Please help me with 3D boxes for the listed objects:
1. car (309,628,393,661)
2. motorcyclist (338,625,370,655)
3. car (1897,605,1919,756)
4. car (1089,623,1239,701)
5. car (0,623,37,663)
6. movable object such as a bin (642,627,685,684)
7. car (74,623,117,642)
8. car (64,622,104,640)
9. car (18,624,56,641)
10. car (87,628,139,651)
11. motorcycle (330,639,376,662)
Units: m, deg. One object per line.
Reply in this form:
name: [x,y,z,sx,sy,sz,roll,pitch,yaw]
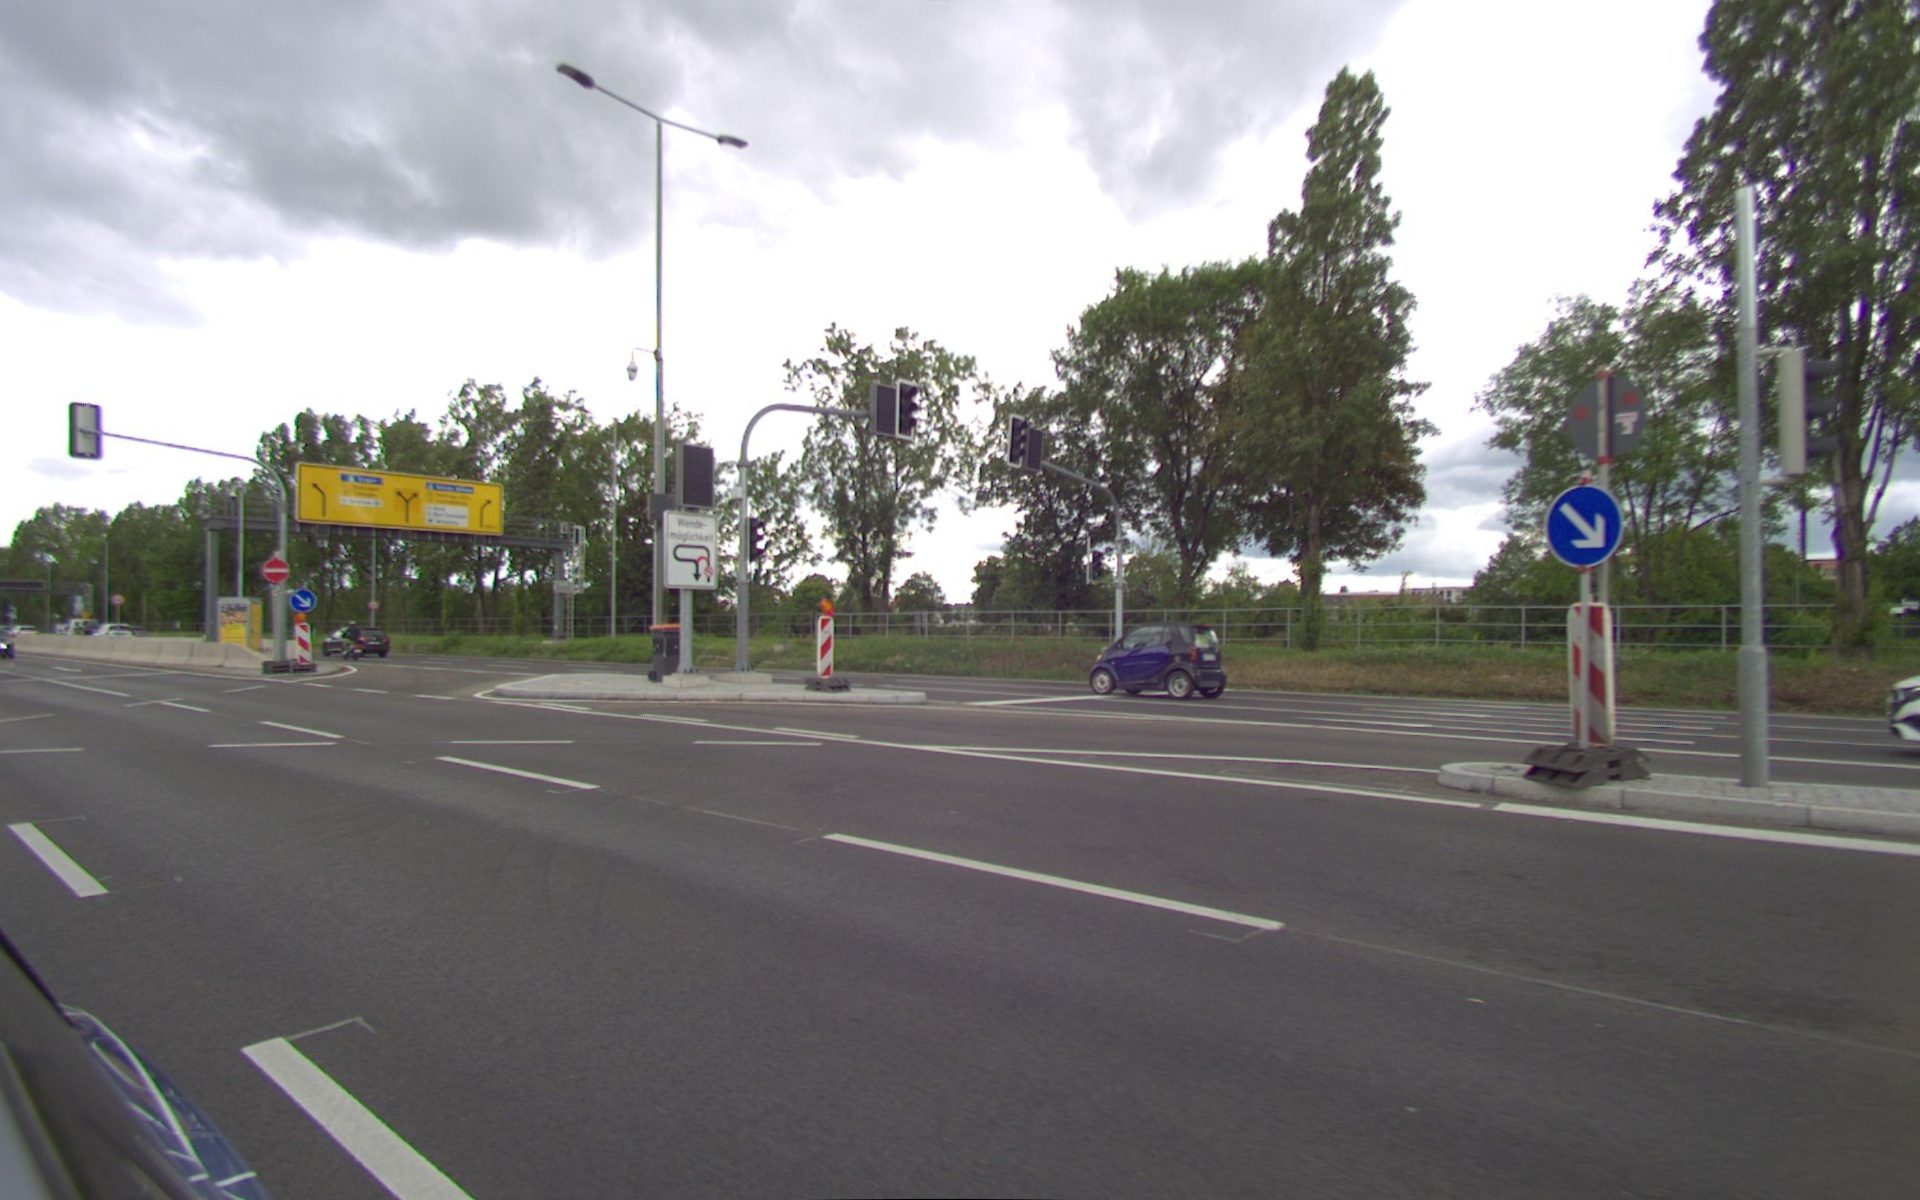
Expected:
car: [-29.740,2.146,49.362,4.998,1.537,1.987,-2,-2,40]
motorcyclist: [-25.334,1.664,42.296,1.085,1.248,0.865,-2,-2,41]
car: [12.218,0.804,9.421,4.998,1.537,1.680,-2,-4,40]
car: [4.153,1.258,20.742,2.631,1.487,1.489,-2,-4,41]
car: [-43.676,1.963,46.104,4.143,1.738,1.859,-2,-2,40]
movable object such as a bin: [-5.606,1.038,19.130,0.622,1.032,0.563,-2,-2,45]
car: [-73.117,2.760,85.591,4.998,1.537,1.987,-2,-2,40]
car: [-79.162,2.784,91.443,4.998,1.537,1.987,-2,-2,40]
car: [-85.764,3.040,94.049,4.998,1.537,1.987,-2,-2,40]
car: [-60.466,2.808,72.223,4.998,1.580,1.987,-2,-2,40]
motorcycle: [-25.419,2.097,42.363,2.632,0.946,0.865,-2,-2,41]
